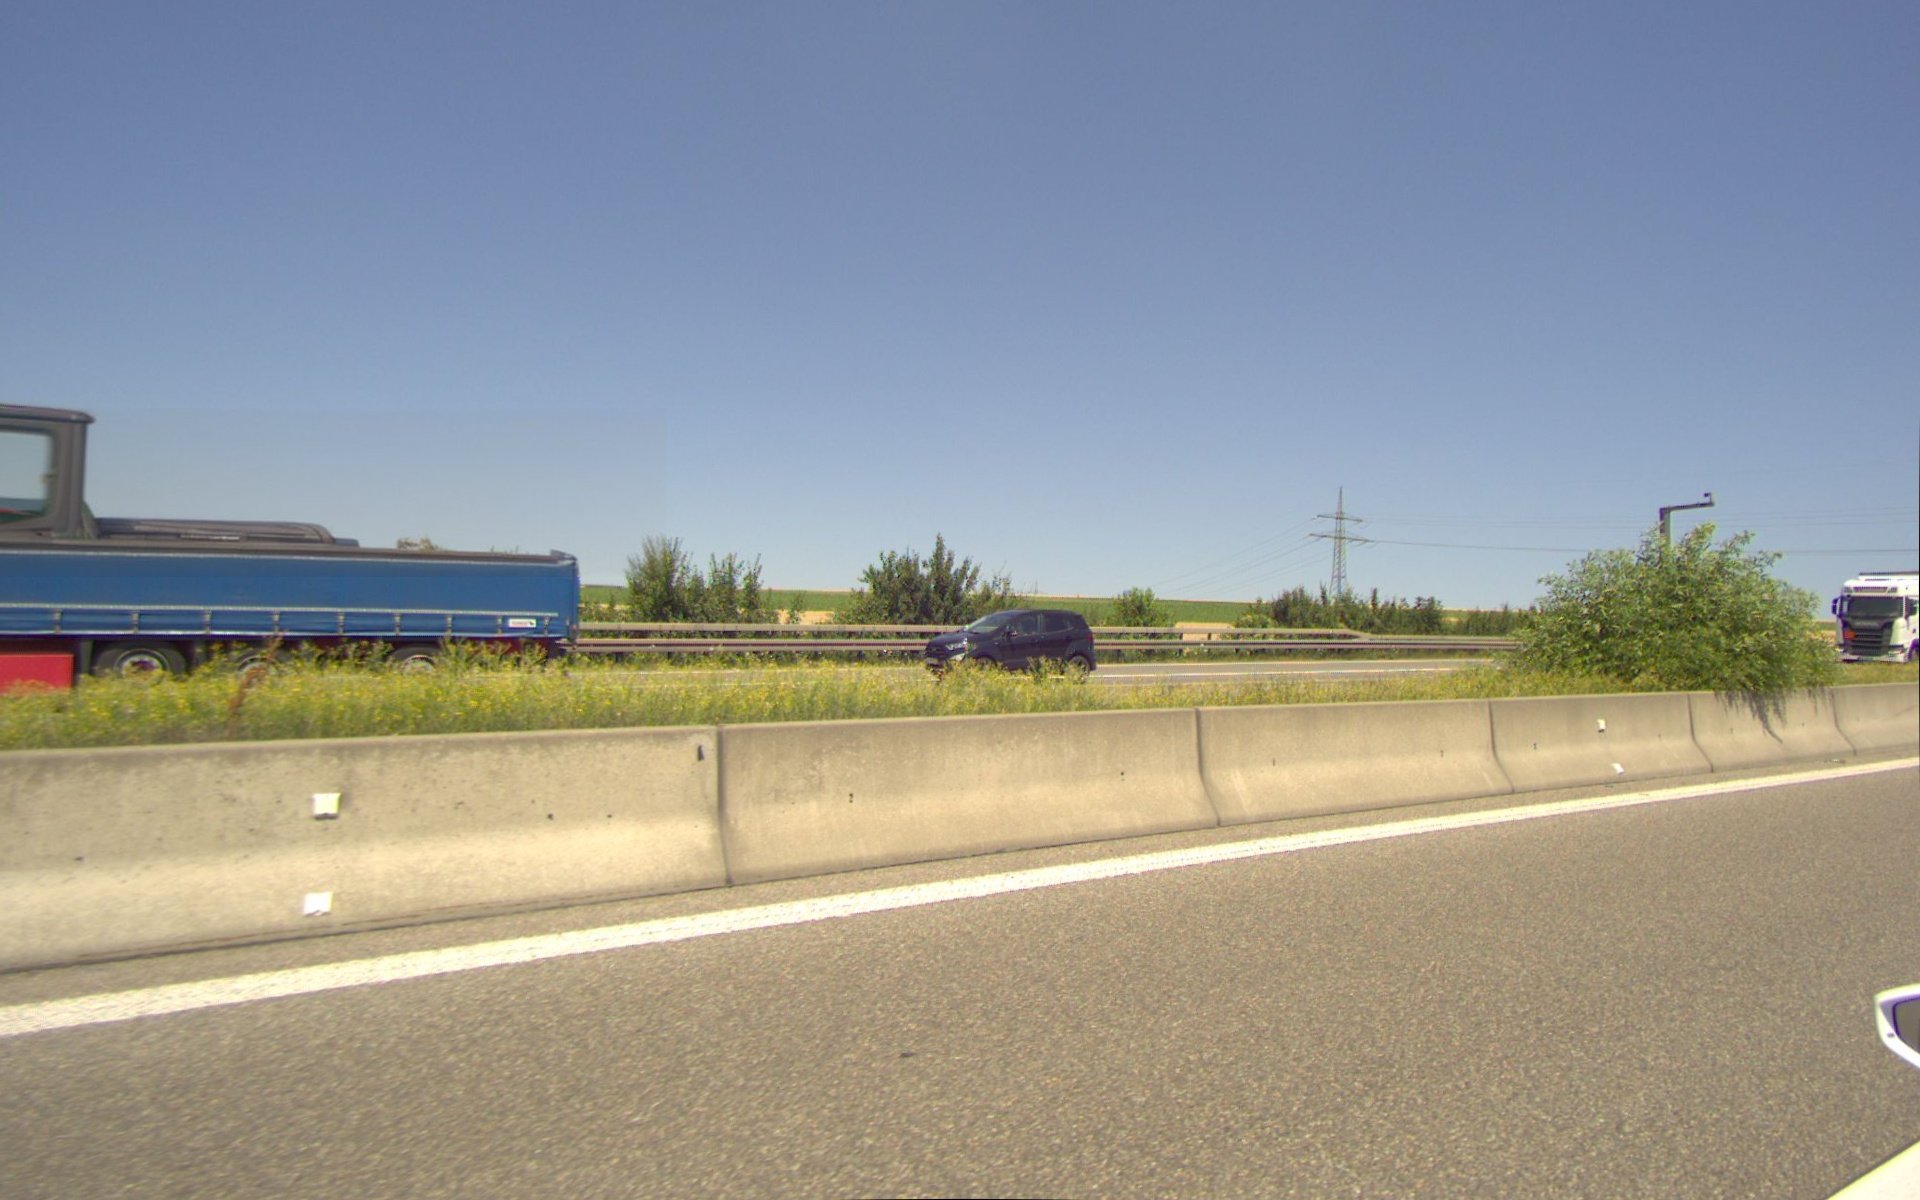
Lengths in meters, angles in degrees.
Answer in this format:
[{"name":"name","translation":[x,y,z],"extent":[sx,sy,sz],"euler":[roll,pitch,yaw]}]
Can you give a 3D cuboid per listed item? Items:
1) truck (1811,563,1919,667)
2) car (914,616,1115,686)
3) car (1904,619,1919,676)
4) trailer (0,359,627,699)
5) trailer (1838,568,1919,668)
[{"name":"truck","translation":[41.873,0.727,45.405],"extent":[6.070,4.385,3.120],"euler":[2,0,-28]},{"name":"car","translation":[1.259,1.120,22.468],"extent":[4.299,1.404,1.650],"euler":[2,0,-30]},{"name":"car","translation":[30.834,1.479,30.502],"extent":[4.424,1.695,1.984],"euler":[2,0,-30]},{"name":"trailer","translation":[-12.400,-0.892,14.177],"extent":[14.210,4.249,3.146],"euler":[2,0,-30]},{"name":"trailer","translation":[47.906,1.022,48.607],"extent":[14.360,4.381,3.112],"euler":[2,0,-28]}]
